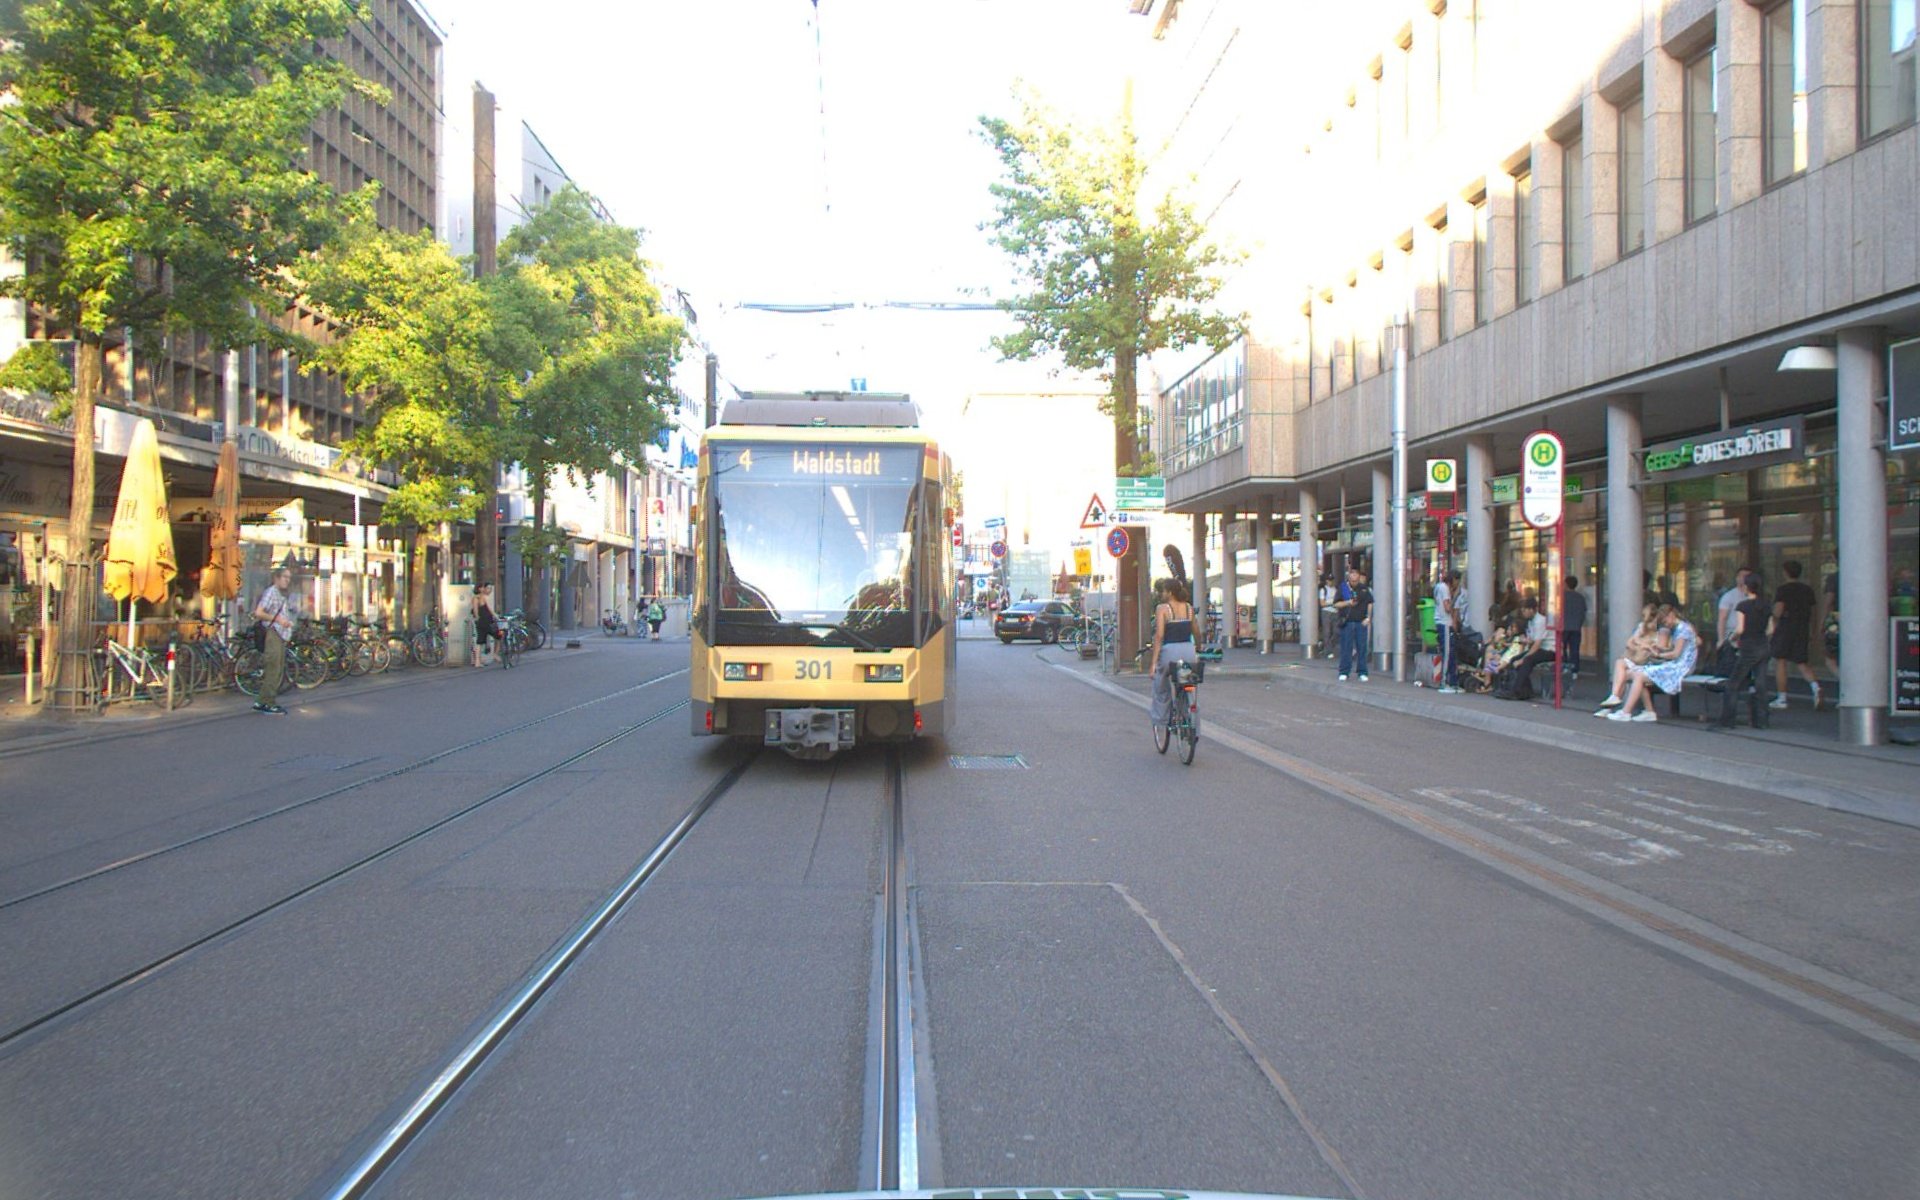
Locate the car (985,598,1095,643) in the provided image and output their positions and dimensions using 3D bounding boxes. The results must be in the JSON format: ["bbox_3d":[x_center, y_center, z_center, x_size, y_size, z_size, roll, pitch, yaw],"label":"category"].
[{"bbox_3d":[2.694,0.696,54.755,1.740,1.434,4.036,-1,-1,36],"label":"car"}]

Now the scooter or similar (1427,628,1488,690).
[{"bbox_3d":[7.536,0.882,25.086,0.815,0.899,0.687,1,0,12],"label":"scooter or similar"}]

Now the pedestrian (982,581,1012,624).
[{"bbox_3d":[1.644,0.116,73.915,0.999,1.896,1.035,1,-1,-22],"label":"pedestrian"}]

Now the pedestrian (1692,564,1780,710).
[{"bbox_3d":[9.215,0.429,19.668,0.673,1.690,0.722,-1,-1,-1],"label":"pedestrian"}]

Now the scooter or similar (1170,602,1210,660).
[{"bbox_3d":[5.277,0.701,37.934,0.385,1.273,1.187,-1,1,36],"label":"scooter or similar"}]

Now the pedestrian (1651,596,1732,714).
[{"bbox_3d":[8.472,0.631,19.160,0.703,1.337,0.532,0,-1,-1],"label":"pedestrian"}]

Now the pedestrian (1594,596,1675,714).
[{"bbox_3d":[7.751,0.625,19.019,0.703,1.337,0.532,0,-1,-1],"label":"pedestrian"}]

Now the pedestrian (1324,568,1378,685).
[{"bbox_3d":[6.396,0.424,27.068,0.655,1.872,0.708,-1,0,-3],"label":"pedestrian"}]

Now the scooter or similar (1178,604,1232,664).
[{"bbox_3d":[5.424,0.741,36.605,1.102,1.273,0.491,-2,1,-33],"label":"scooter or similar"}]

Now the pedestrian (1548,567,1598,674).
[{"bbox_3d":[10.266,0.346,27.710,0.559,1.762,0.617,-1,0,-3],"label":"pedestrian"}]

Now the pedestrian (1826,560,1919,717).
[{"bbox_3d":[10.111,0.414,18.332,0.635,1.690,0.680,-1,0,-1],"label":"pedestrian"}]

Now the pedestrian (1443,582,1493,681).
[{"bbox_3d":[8.792,0.539,28.632,0.635,1.690,0.650,-1,0,-2],"label":"pedestrian"}]

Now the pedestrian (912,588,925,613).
[{"bbox_3d":[-2.900,0.037,115.331,0.750,1.690,0.795,0,0,10],"label":"pedestrian"}]

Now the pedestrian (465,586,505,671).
[{"bbox_3d":[-9.811,0.583,34.188,0.589,1.729,0.535,1,0,27],"label":"pedestrian"}]

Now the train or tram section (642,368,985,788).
[{"bbox_3d":[-1.481,-0.214,20.599,2.744,3.377,14.501,0,0,-2],"label":"train or tram section"}]

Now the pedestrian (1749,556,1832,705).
[{"bbox_3d":[10.184,0.371,20.309,0.570,1.783,0.773,-1,0,-3],"label":"pedestrian"}]

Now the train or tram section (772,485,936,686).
[{"bbox_3d":[-2.087,-0.278,35.099,2.744,3.377,14.501,0,0,-2],"label":"train or tram section"}]

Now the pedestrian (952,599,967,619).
[{"bbox_3d":[-0.033,0.543,99.519,0.777,1.243,0.768,0,0,-6],"label":"pedestrian"}]

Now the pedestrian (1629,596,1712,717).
[{"bbox_3d":[7.935,0.624,18.489,0.703,1.337,0.524,0,-1,-1],"label":"pedestrian"}]

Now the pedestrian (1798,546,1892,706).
[{"bbox_3d":[10.836,0.314,20.270,0.673,1.915,0.773,-1,0,-3],"label":"pedestrian"}]

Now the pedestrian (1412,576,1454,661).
[{"bbox_3d":[10.253,0.393,35.860,0.649,1.818,0.719,-1,-1,-2],"label":"pedestrian"}]

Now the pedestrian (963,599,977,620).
[{"bbox_3d":[0.588,0.544,98.740,0.777,1.243,0.768,0,0,-6],"label":"pedestrian"}]

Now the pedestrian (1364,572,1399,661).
[{"bbox_3d":[8.802,0.336,34.554,0.528,1.838,0.604,-1,0,-3],"label":"pedestrian"}]

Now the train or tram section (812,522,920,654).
[{"bbox_3d":[-2.698,-0.338,49.562,2.744,3.377,14.501,0,0,-2],"label":"train or tram section"}]

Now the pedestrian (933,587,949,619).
[{"bbox_3d":[-1.092,0.190,95.557,0.722,1.855,0.816,0,0,-17],"label":"pedestrian"}]

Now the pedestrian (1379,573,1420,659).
[{"bbox_3d":[9.514,0.344,35.853,0.649,1.818,0.719,-1,-1,-2],"label":"pedestrian"}]

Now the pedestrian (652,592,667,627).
[{"bbox_3d":[-15.169,0.459,83.500,0.699,1.756,0.709,0,-1,-4],"label":"pedestrian"}]

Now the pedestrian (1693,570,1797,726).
[{"bbox_3d":[8.295,0.496,17.507,0.709,1.597,0.736,-1,0,0],"label":"pedestrian"}]

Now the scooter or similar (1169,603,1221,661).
[{"bbox_3d":[5.305,0.710,37.291,1.176,1.273,0.389,-2,1,-32],"label":"scooter or similar"}]

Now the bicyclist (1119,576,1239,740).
[{"bbox_3d":[2.117,0.550,16.080,0.977,1.528,0.856,1,0,-5],"label":"bicyclist"}]

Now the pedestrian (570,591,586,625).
[{"bbox_3d":[-19.848,0.432,85.941,0.699,1.756,0.709,0,-1,-4],"label":"pedestrian"}]

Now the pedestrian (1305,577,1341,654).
[{"bbox_3d":[8.748,0.365,39.855,0.649,1.818,0.719,-1,-1,-2],"label":"pedestrian"}]

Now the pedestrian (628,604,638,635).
[{"bbox_3d":[-16.822,0.996,85.046,0.499,1.574,0.516,0,-1,-10],"label":"pedestrian"}]

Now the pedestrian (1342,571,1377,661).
[{"bbox_3d":[8.296,0.332,34.364,0.528,1.838,0.604,-1,0,-3],"label":"pedestrian"}]

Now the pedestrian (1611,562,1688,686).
[{"bbox_3d":[10.285,0.353,24.689,0.757,1.803,0.773,-1,-1,-3],"label":"pedestrian"}]
